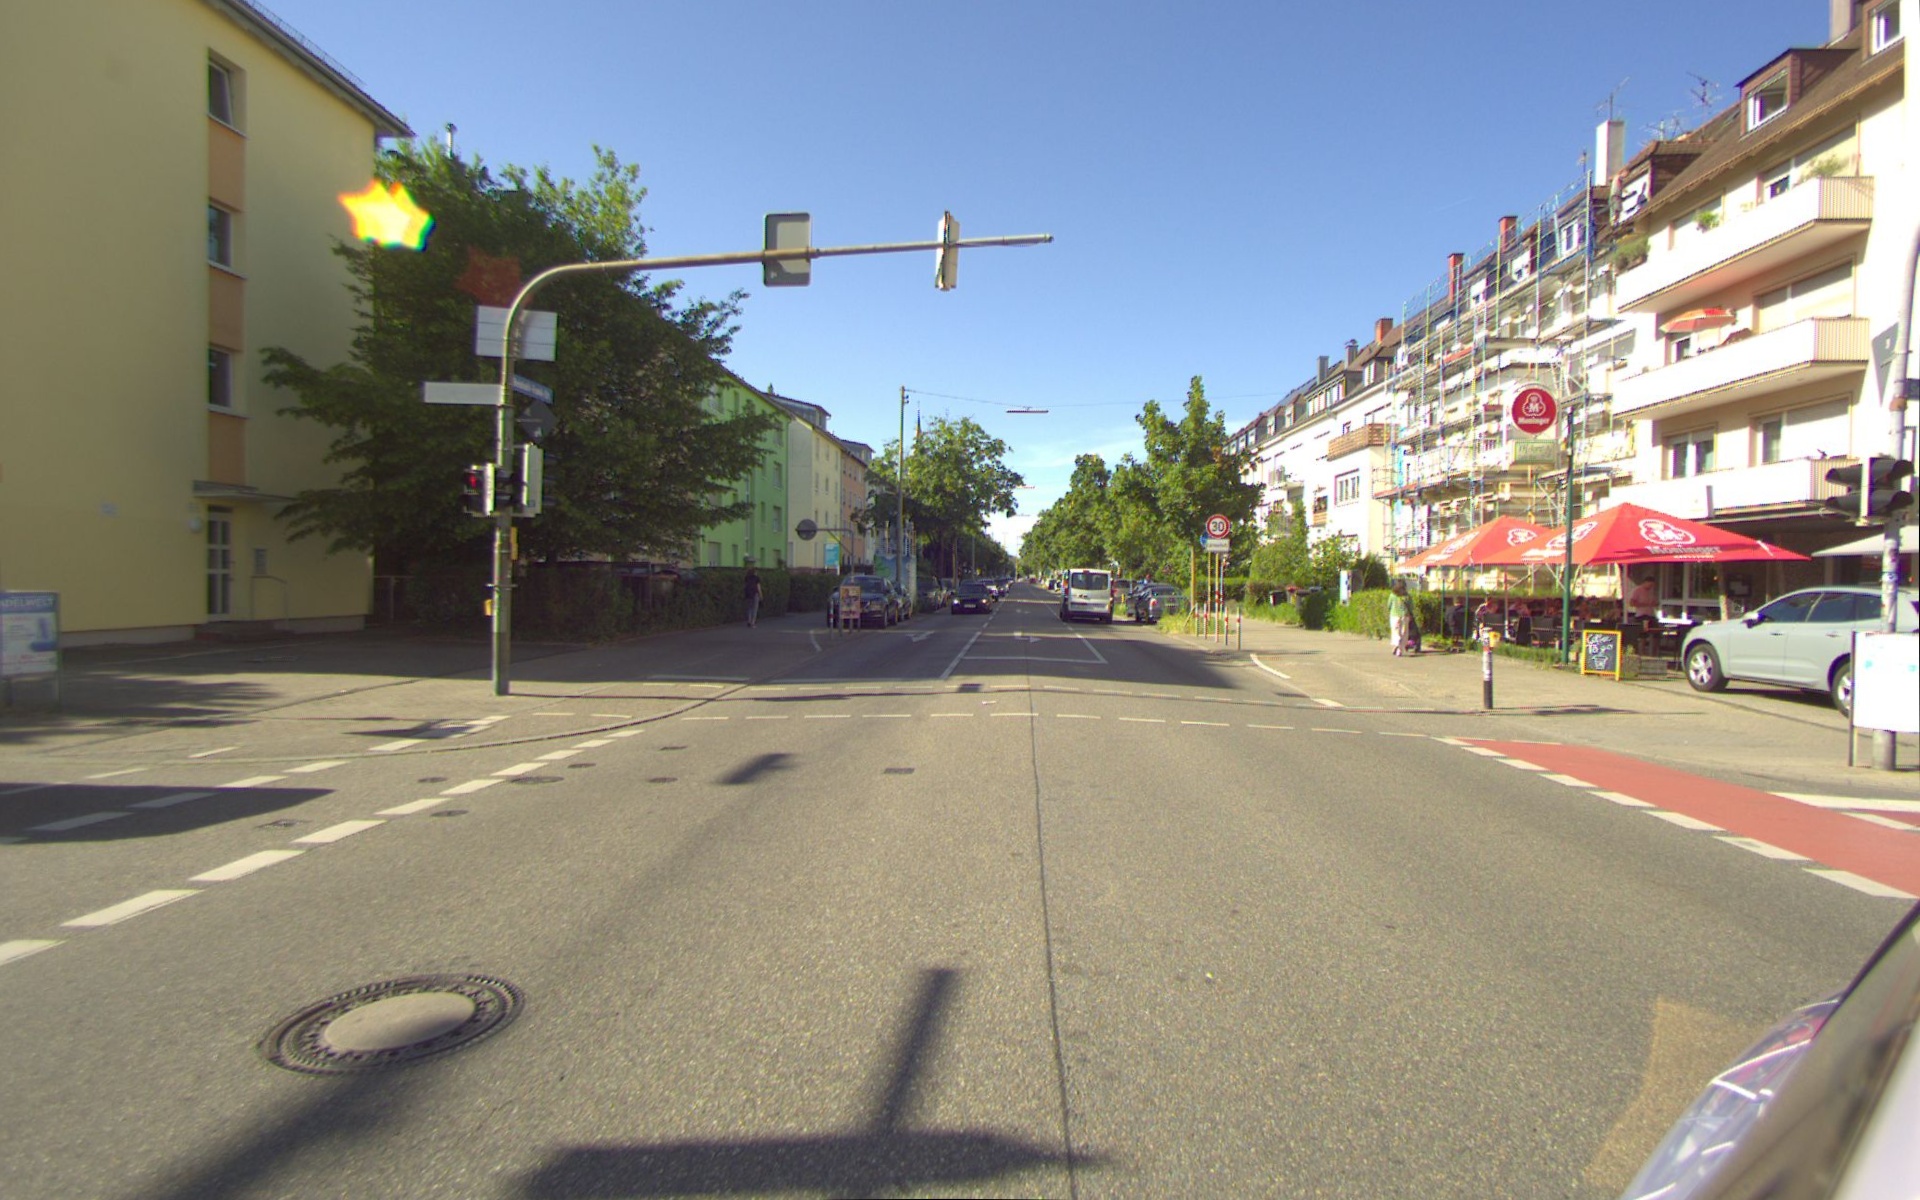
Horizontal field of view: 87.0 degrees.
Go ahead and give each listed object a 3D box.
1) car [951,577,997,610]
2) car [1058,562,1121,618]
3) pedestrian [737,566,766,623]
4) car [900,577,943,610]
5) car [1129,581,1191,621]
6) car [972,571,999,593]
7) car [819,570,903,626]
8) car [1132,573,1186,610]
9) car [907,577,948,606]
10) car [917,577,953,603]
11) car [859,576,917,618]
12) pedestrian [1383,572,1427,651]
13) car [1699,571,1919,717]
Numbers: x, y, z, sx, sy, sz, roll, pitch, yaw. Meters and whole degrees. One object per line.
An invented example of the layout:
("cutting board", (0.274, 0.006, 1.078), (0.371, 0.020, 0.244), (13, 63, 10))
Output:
("car", (0.677, -0.325, 45.553), (1.836, 1.393, 3.997), (0, 1, 4))
("car", (4.813, -0.344, 38.287), (1.939, 1.964, 5.051), (1, 0, 3))
("pedestrian", (-5.957, -0.160, 28.992), (0.636, 1.606, 0.570), (1, 1, 11))
("car", (-1.754, -0.333, 47.011), (1.655, 1.429, 3.519), (1, 1, 4))
("car", (7.391, -0.005, 37.728), (1.683, 1.330, 3.997), (1, 1, 3))
("car", (1.797, -1.266, 70.394), (1.655, 1.429, 3.519), (1, 1, 4))
("car", (-2.994, -0.106, 31.519), (1.964, 1.593, 3.997), (1, 1, 4))
("car", (8.315, -0.385, 42.629), (1.683, 1.471, 3.997), (1, 1, 4))
("car", (-1.614, -0.452, 50.749), (1.656, 1.353, 3.519), (1, 1, 5))
("car", (-1.381, -0.572, 56.344), (1.655, 1.353, 3.519), (1, 1, 4))
("car", (-2.589, -0.150, 37.005), (1.655, 1.429, 3.519), (1, 1, 4))
("pedestrian", (9.387, 0.226, 21.353), (0.633, 1.638, 0.595), (1, 1, -1))
("car", (12.114, 0.480, 13.441), (1.792, 1.683, 3.997), (1, 1, 4))
